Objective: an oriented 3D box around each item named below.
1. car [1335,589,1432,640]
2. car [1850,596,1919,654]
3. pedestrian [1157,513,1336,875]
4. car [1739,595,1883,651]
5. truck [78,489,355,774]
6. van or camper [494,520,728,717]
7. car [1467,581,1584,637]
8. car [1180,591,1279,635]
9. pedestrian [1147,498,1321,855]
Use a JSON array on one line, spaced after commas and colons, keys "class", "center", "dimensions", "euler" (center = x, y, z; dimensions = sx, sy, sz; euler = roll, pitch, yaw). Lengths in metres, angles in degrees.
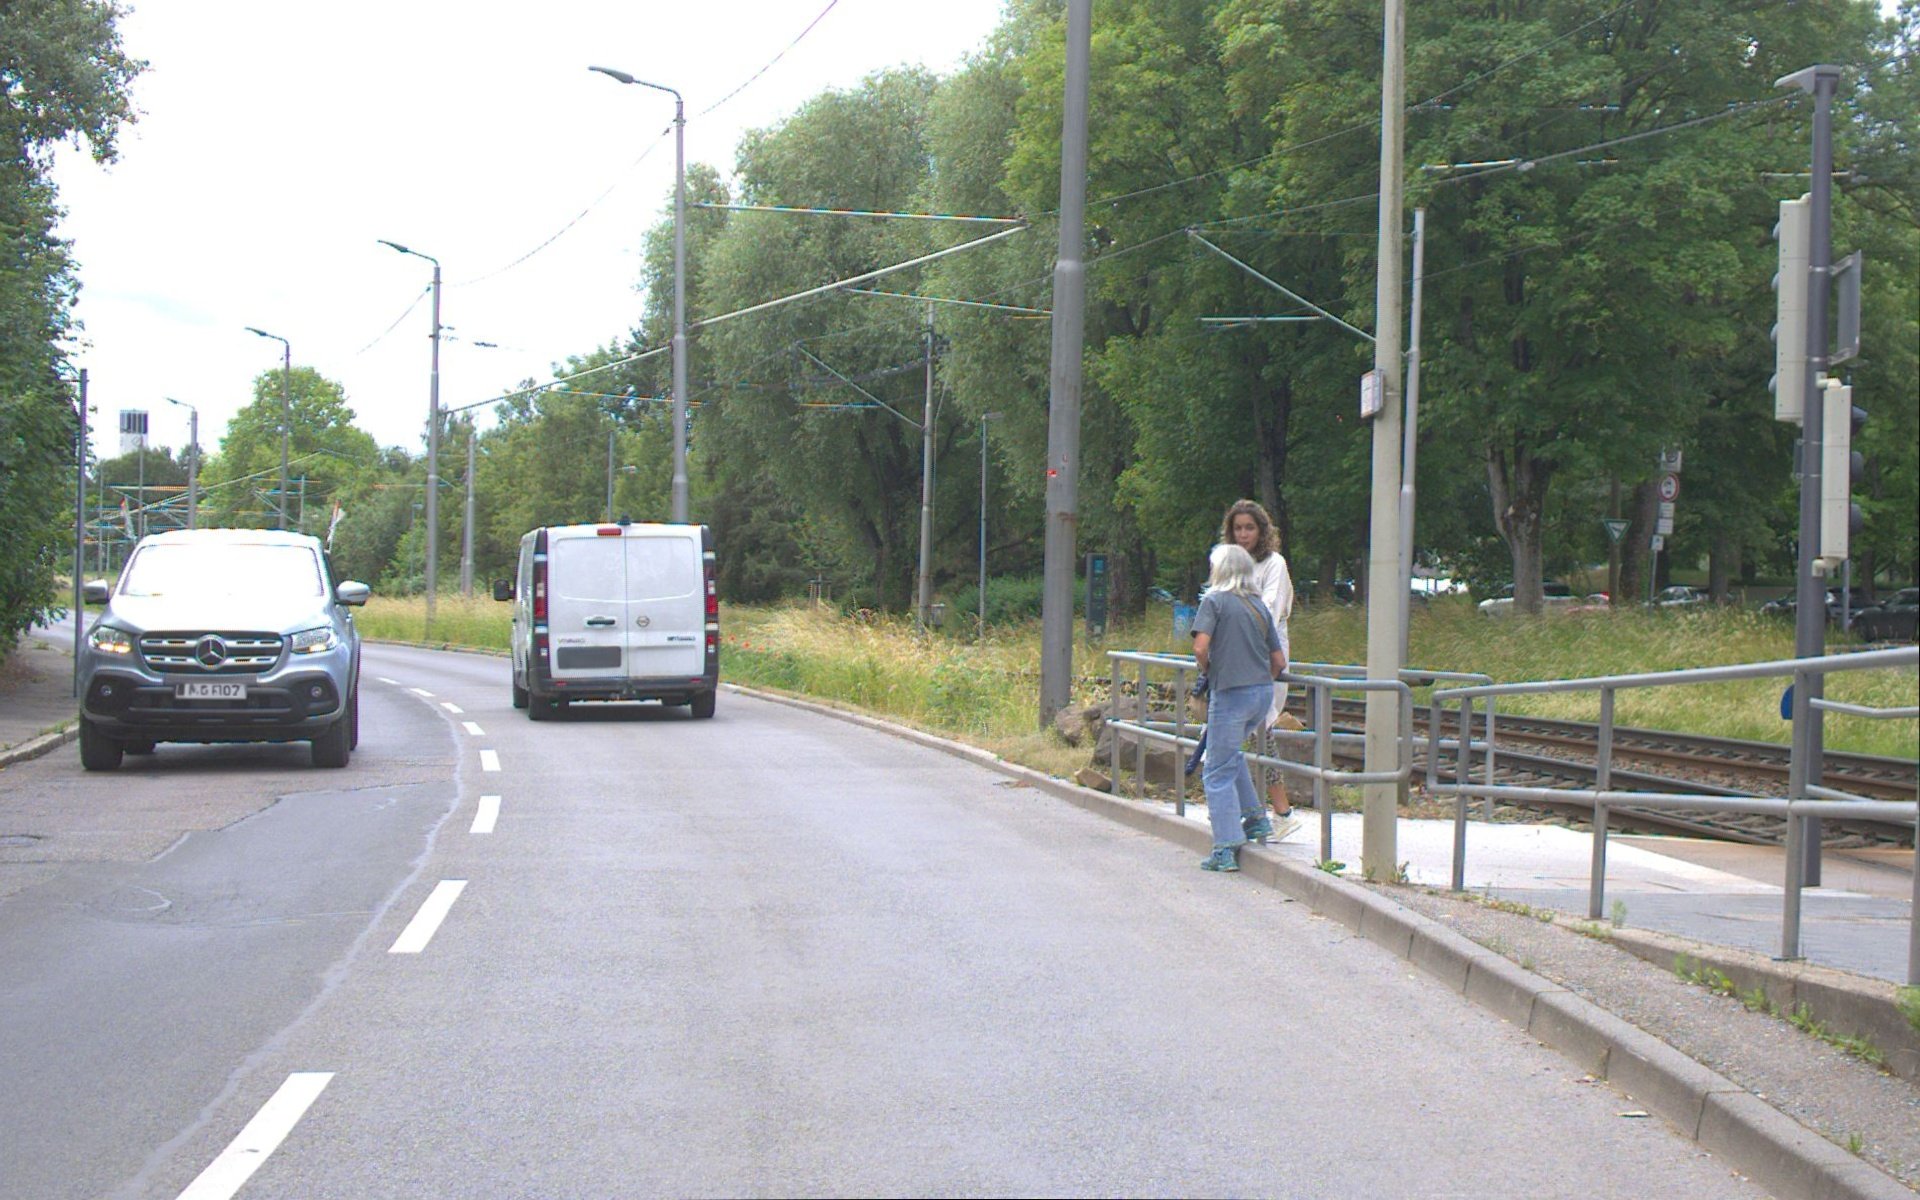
[{"class": "car", "center": [14.777, 0.505, 120.149], "dimensions": [1.993, 1.694, 4.001], "euler": [2, -1, -15]}, {"class": "car", "center": [24.760, 0.649, 87.669], "dimensions": [1.993, 1.438, 4.347], "euler": [1, 0, -17]}, {"class": "pedestrian", "center": [1.398, 0.464, 16.849], "dimensions": [0.474, 1.723, 0.800], "euler": [3, -3, -28]}, {"class": "car", "center": [23.032, 0.610, 93.145], "dimensions": [1.993, 1.438, 4.001], "euler": [1, 0, -17]}, {"class": "truck", "center": [-5.750, 0.208, 26.422], "dimensions": [1.847, 1.959, 4.960], "euler": [1, 0, -13]}, {"class": "van or camper", "center": [-3.662, 0.180, 35.433], "dimensions": [1.941, 1.890, 4.286], "euler": [0, 0, -12]}, {"class": "car", "center": [18.005, 0.272, 109.659], "dimensions": [1.993, 1.694, 4.230], "euler": [2, -1, -17]}, {"class": "car", "center": [11.716, 0.564, 149.809], "dimensions": [1.994, 1.806, 3.998], "euler": [1, 0, -42]}, {"class": "pedestrian", "center": [1.439, 0.408, 18.106], "dimensions": [0.658, 1.834, 0.597], "euler": [3, -3, -28]}]
